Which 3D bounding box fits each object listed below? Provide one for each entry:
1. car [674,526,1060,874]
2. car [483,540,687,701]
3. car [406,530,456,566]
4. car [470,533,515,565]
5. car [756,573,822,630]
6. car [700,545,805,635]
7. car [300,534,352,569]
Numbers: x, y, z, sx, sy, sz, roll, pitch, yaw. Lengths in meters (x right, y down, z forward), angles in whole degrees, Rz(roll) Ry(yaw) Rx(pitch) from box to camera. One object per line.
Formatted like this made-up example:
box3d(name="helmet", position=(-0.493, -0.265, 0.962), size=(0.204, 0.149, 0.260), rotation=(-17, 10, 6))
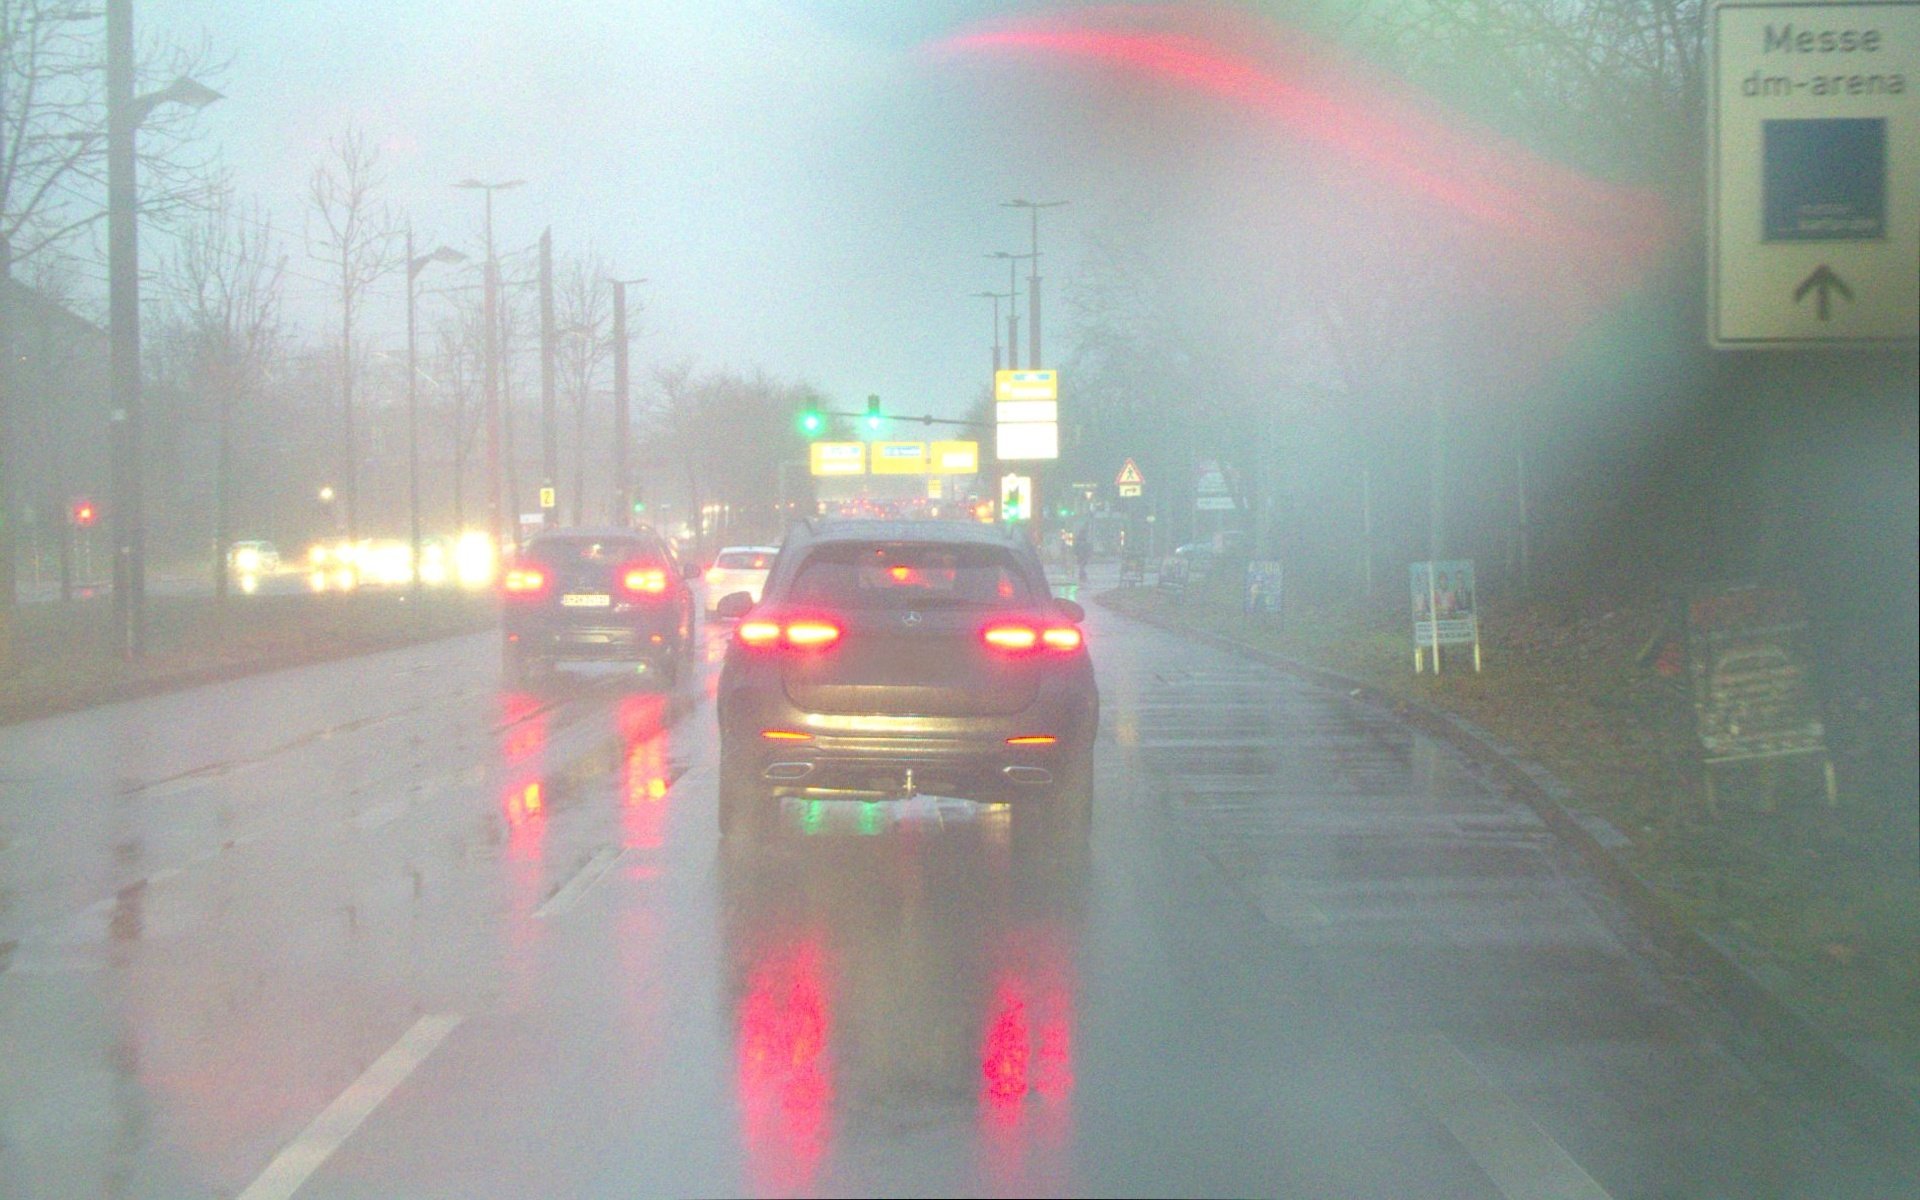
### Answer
box3d(name="car", position=(-0.468, 0.431, 18.612), size=(1.822, 1.642, 4.467), rotation=(-1, 1, -1))
box3d(name="car", position=(-4.047, 0.178, 37.628), size=(1.822, 1.642, 4.000), rotation=(-1, 1, -1))
box3d(name="car", position=(-23.901, -2.348, 155.502), size=(1.769, 1.548, 3.948), rotation=(-1, 2, -2))
box3d(name="car", position=(-21.067, -2.305, 155.039), size=(1.652, 1.415, 3.327), rotation=(-1, 2, -2))
box3d(name="car", position=(-4.319, 0.020, 87.103), size=(1.505, 1.334, 4.000), rotation=(-1, 1, -1))
box3d(name="car", position=(-3.959, -0.219, 66.099), size=(1.822, 1.642, 4.000), rotation=(-1, 1, -1))
box3d(name="car", position=(-28.391, -2.169, 154.048), size=(1.618, 1.490, 4.017), rotation=(-1, 2, 0))
